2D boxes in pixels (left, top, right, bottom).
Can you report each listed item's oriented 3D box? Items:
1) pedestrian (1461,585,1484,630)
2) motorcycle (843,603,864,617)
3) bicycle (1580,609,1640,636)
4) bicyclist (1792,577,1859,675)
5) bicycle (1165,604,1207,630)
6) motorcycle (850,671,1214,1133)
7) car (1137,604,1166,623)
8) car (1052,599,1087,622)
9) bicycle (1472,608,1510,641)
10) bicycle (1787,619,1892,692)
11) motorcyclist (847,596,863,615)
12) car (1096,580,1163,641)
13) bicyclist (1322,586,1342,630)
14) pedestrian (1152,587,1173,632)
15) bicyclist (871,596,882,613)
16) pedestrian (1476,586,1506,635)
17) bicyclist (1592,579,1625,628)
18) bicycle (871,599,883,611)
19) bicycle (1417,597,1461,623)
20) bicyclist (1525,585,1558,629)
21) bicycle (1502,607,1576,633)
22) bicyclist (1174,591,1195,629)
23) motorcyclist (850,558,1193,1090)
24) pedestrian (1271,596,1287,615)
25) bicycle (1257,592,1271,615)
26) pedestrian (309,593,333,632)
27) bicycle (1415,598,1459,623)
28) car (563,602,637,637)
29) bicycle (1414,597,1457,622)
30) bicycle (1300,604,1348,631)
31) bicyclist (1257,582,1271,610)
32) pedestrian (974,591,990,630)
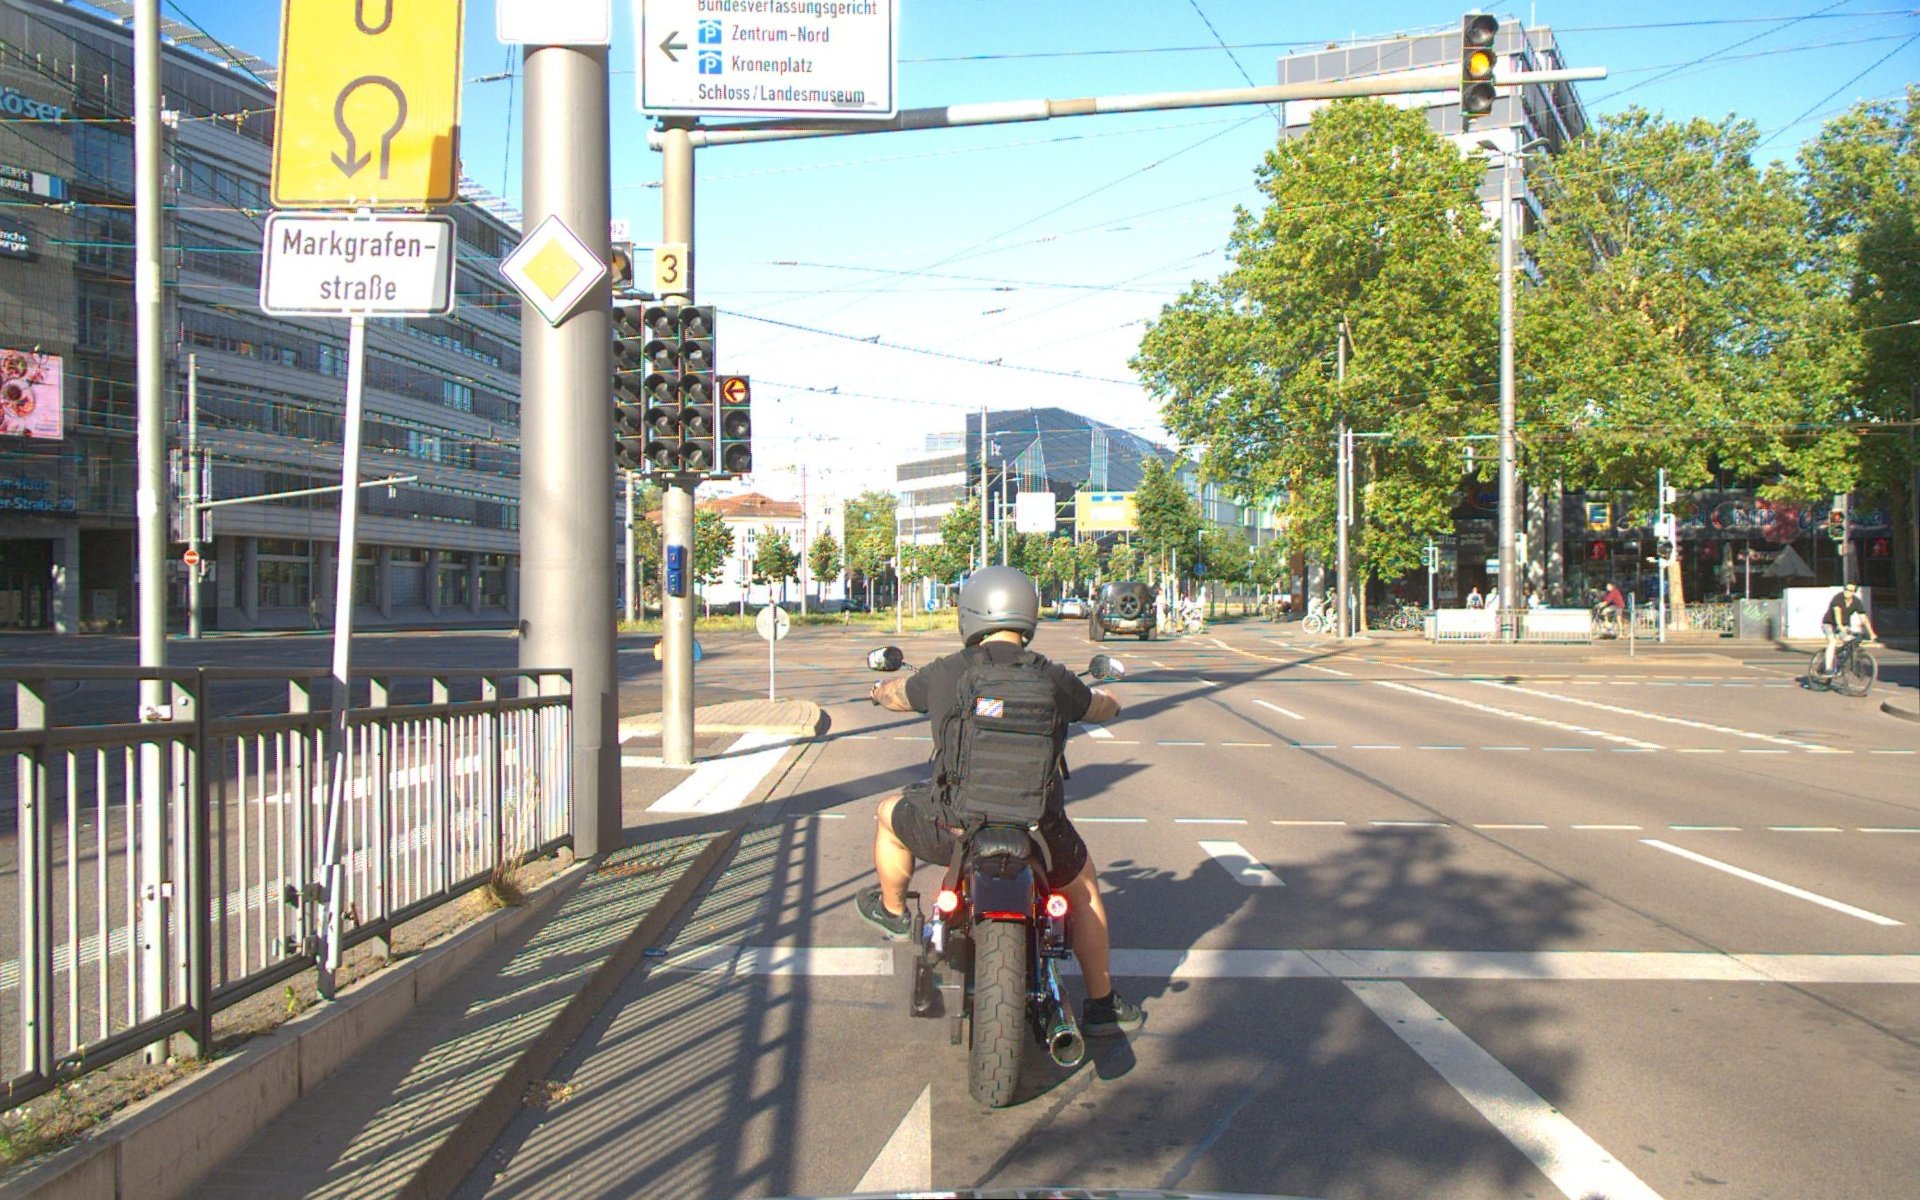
[{"bbox_3d":[21.874,0.313,70.620,0.829,1.884,0.810,2,0,14],"label":"pedestrian"},{"bbox_3d":[-9.718,0.939,151.619,0.963,1.253,2.945,0,0,17],"label":"motorcycle"},{"bbox_3d":[22.378,0.783,56.940,1.814,0.926,0.652,0,0,3],"label":"bicycle"},{"bbox_3d":[14.179,0.409,27.117,0.567,1.541,0.850,-4,1,0],"label":"bicyclist"},{"bbox_3d":[9.194,0.677,67.287,1.594,1.039,0.516,-1,-1,23],"label":"bicycle"},{"bbox_3d":[0.182,0.883,5.716,0.985,1.145,2.323,1,0,-1],"label":"motorcycle"},{"bbox_3d":[15.029,1.066,129.493,1.802,1.490,4.003,1,0,13],"label":"car"},{"bbox_3d":[7.615,0.734,115.013,1.861,1.534,4.003,1,0,12],"label":"car"},{"bbox_3d":[17.959,0.828,55.993,0.773,1.070,1.924,1,0,4],"label":"bicycle"},{"bbox_3d":[14.216,0.876,26.795,0.588,1.068,1.881,-5,0,-1],"label":"bicycle"},{"bbox_3d":[-9.650,0.530,151.809,0.997,1.761,1.461,0,0,17],"label":"motorcyclist"},{"bbox_3d":[5.553,0.351,54.622,2.010,1.906,4.229,1,0,4],"label":"car"},{"bbox_3d":[14.719,0.322,65.456,0.727,1.724,0.570,-1,-1,10],"label":"bicyclist"},{"bbox_3d":[8.489,0.413,69.418,0.688,1.869,0.513,1,-1,35],"label":"pedestrian"},{"bbox_3d":[-8.116,0.458,161.277,0.747,1.696,0.994,0,0,17],"label":"bicyclist"},{"bbox_3d":[17.965,0.364,55.943,0.754,1.622,0.838,1,-1,1],"label":"pedestrian"},{"bbox_3d":[22.316,0.118,56.959,0.906,1.643,0.638,0,0,3],"label":"bicyclist"},{"bbox_3d":[-8.114,0.475,161.301,0.629,1.127,1.686,0,0,17],"label":"bicycle"},{"bbox_3d":[19.073,0.393,65.846,1.668,1.003,0.391,0,0,13],"label":"bicycle"},{"bbox_3d":[25.665,0.304,73.034,1.200,1.965,0.836,0,0,5],"label":"bicyclist"},{"bbox_3d":[25.539,0.898,73.027,2.976,1.133,0.836,0,0,5],"label":"bicycle"},{"bbox_3d":[9.136,0.413,67.334,0.727,1.529,0.570,-1,-1,23],"label":"bicyclist"},{"bbox_3d":[0.176,0.668,5.594,1.001,1.579,1.286,1,0,-1],"label":"motorcyclist"},{"bbox_3d":[17.543,0.298,90.949,0.768,1.075,0.814,0,0,22],"label":"pedestrian"},{"bbox_3d":[20.849,0.234,113.529,0.842,1.507,2.578,0,0,12],"label":"bicycle"},{"bbox_3d":[-30.360,0.590,78.557,0.660,1.855,0.886,-2,-1,9],"label":"pedestrian"},{"bbox_3d":[19.225,0.430,66.693,1.668,1.003,0.391,0,0,13],"label":"bicycle"},{"bbox_3d":[-17.021,0.902,78.400,1.753,1.491,4.315,-1,1,12],"label":"car"},{"bbox_3d":[19.552,0.388,68.070,1.668,1.003,0.391,0,0,13],"label":"bicycle"},{"bbox_3d":[14.419,0.680,65.495,1.813,1.039,0.517,-1,-1,11],"label":"bicycle"},{"bbox_3d":[20.888,-0.281,113.610,0.842,1.873,1.258,0,0,12],"label":"bicyclist"},{"bbox_3d":[0.928,0.428,68.978,0.643,1.610,0.489,0,0,3],"label":"pedestrian"}]
